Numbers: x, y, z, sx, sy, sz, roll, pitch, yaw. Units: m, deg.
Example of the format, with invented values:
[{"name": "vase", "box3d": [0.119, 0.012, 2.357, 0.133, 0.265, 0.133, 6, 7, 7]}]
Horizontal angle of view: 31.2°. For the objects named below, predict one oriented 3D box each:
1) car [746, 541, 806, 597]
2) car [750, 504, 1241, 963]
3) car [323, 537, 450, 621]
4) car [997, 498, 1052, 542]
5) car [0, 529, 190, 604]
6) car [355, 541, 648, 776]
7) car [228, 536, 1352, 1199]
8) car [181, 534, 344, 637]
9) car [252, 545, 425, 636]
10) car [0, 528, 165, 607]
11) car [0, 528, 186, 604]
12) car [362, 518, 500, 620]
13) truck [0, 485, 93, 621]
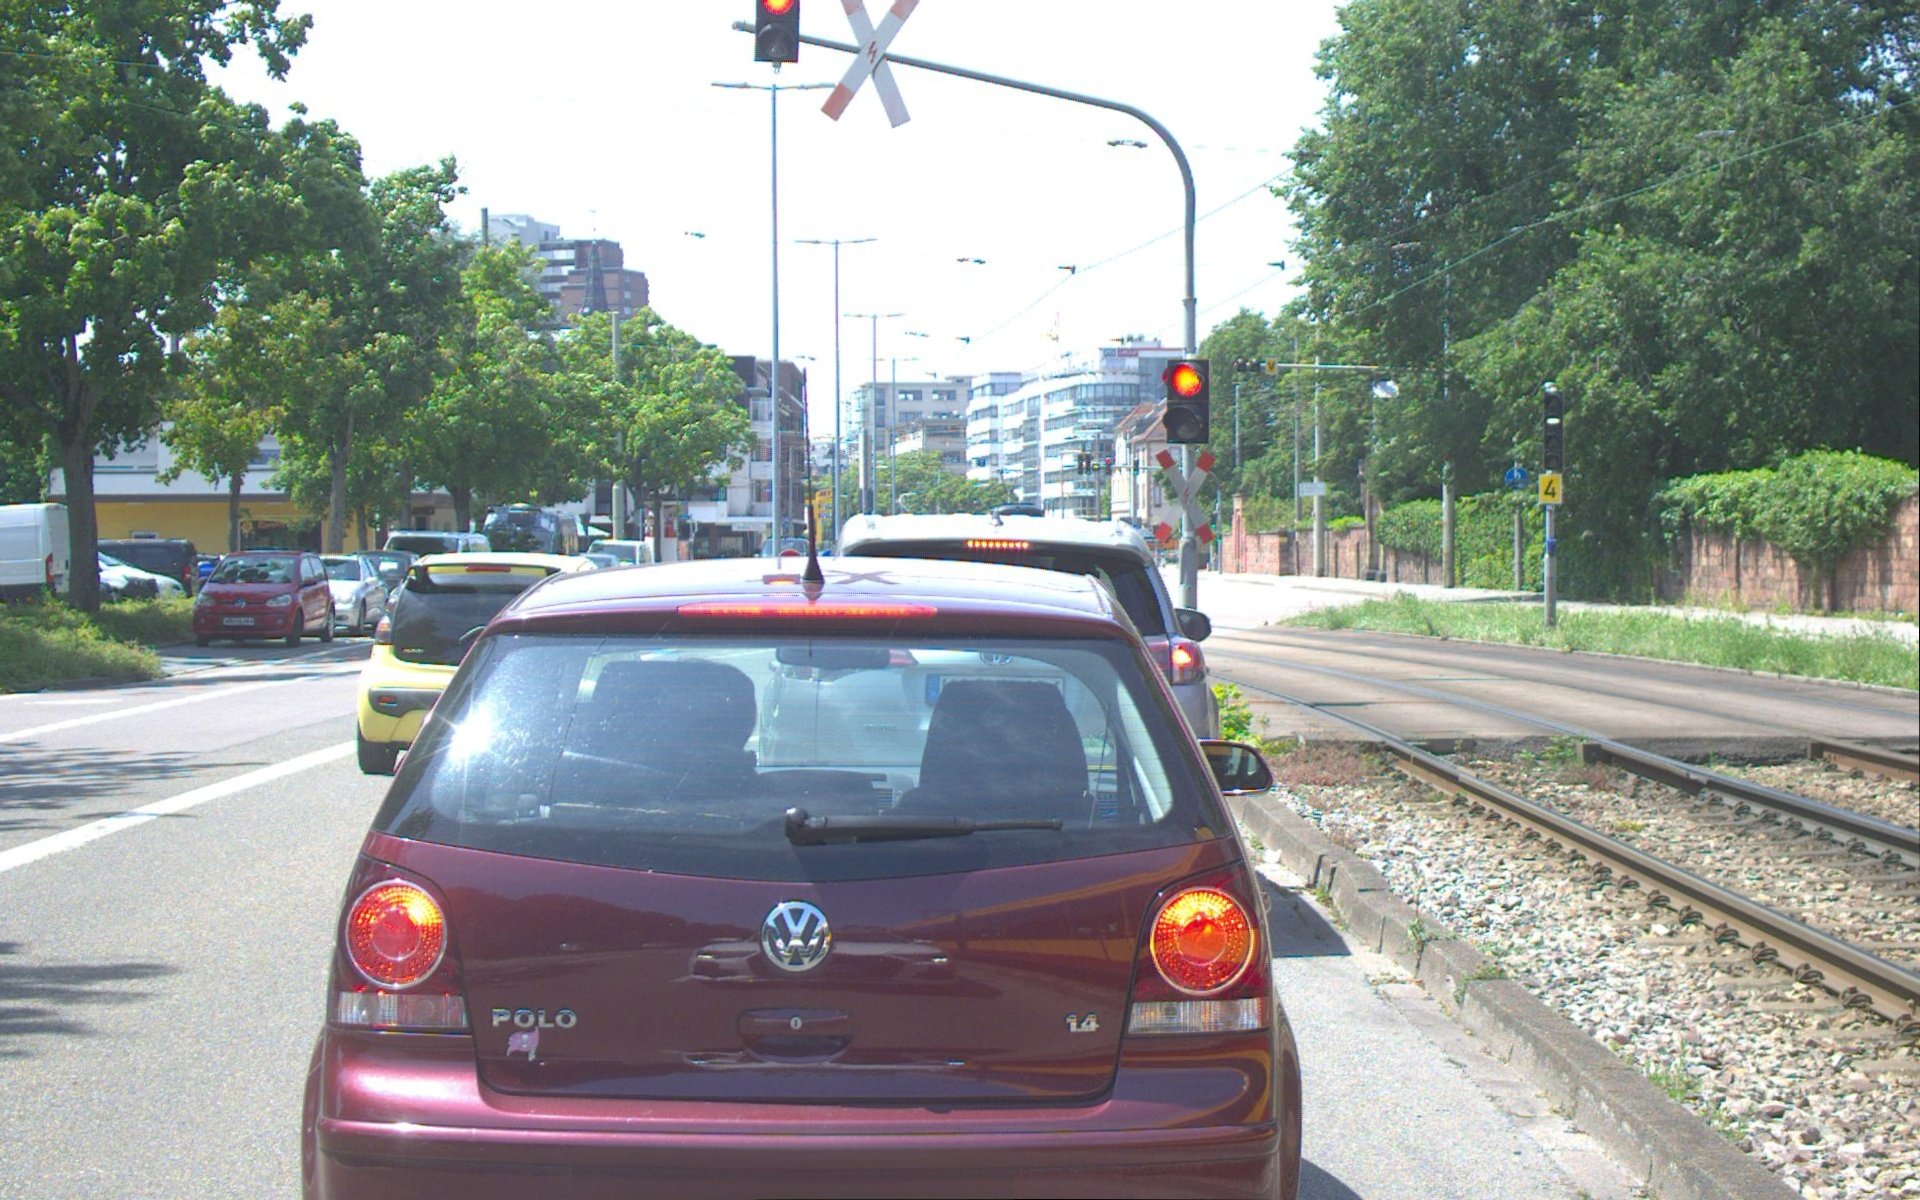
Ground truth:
[{"name": "car", "box3d": [-6.647, -1.138, 124.528, 1.918, 1.904, 4.571, -2, 1, -1]}, {"name": "car", "box3d": [0.107, 0.456, 14.727, 1.795, 1.677, 4.000, 1, 1, -1]}, {"name": "car", "box3d": [-10.984, -0.426, 66.067, 1.614, 1.479, 3.784, 3, 1, 2]}, {"name": "car", "box3d": [2.796, -3.502, 150.814, 1.918, 1.904, 4.572, -1, 1, -5]}, {"name": "car", "box3d": [-21.868, -0.853, 86.201, 4.718, 1.807, 1.797, -1, 1, -1]}, {"name": "car", "box3d": [-3.027, 0.337, 23.244, 1.551, 1.443, 3.412, 1, 1, -1]}, {"name": "car", "box3d": [-0.272, 0.629, 6.965, 1.609, 1.493, 4.000, 1, 1, -1]}, {"name": "car", "box3d": [-10.963, -0.238, 54.269, 1.672, 1.541, 3.726, 1, 1, 2]}, {"name": "car", "box3d": [-10.980, -0.197, 61.058, 1.719, 1.422, 4.770, -1, 2, 6]}, {"name": "car", "box3d": [-21.469, -0.772, 81.759, 4.718, 1.807, 1.797, -1, 1, -1]}, {"name": "car", "box3d": [-21.474, -0.835, 83.937, 4.718, 1.807, 1.797, -1, 1, -1]}, {"name": "car", "box3d": [-10.898, -0.656, 71.169, 1.863, 1.930, 4.805, 3, 1, 2]}, {"name": "truck", "box3d": [-21.038, -0.951, 70.995, 5.578, 2.750, 2.432, -1, 1, 1]}]
